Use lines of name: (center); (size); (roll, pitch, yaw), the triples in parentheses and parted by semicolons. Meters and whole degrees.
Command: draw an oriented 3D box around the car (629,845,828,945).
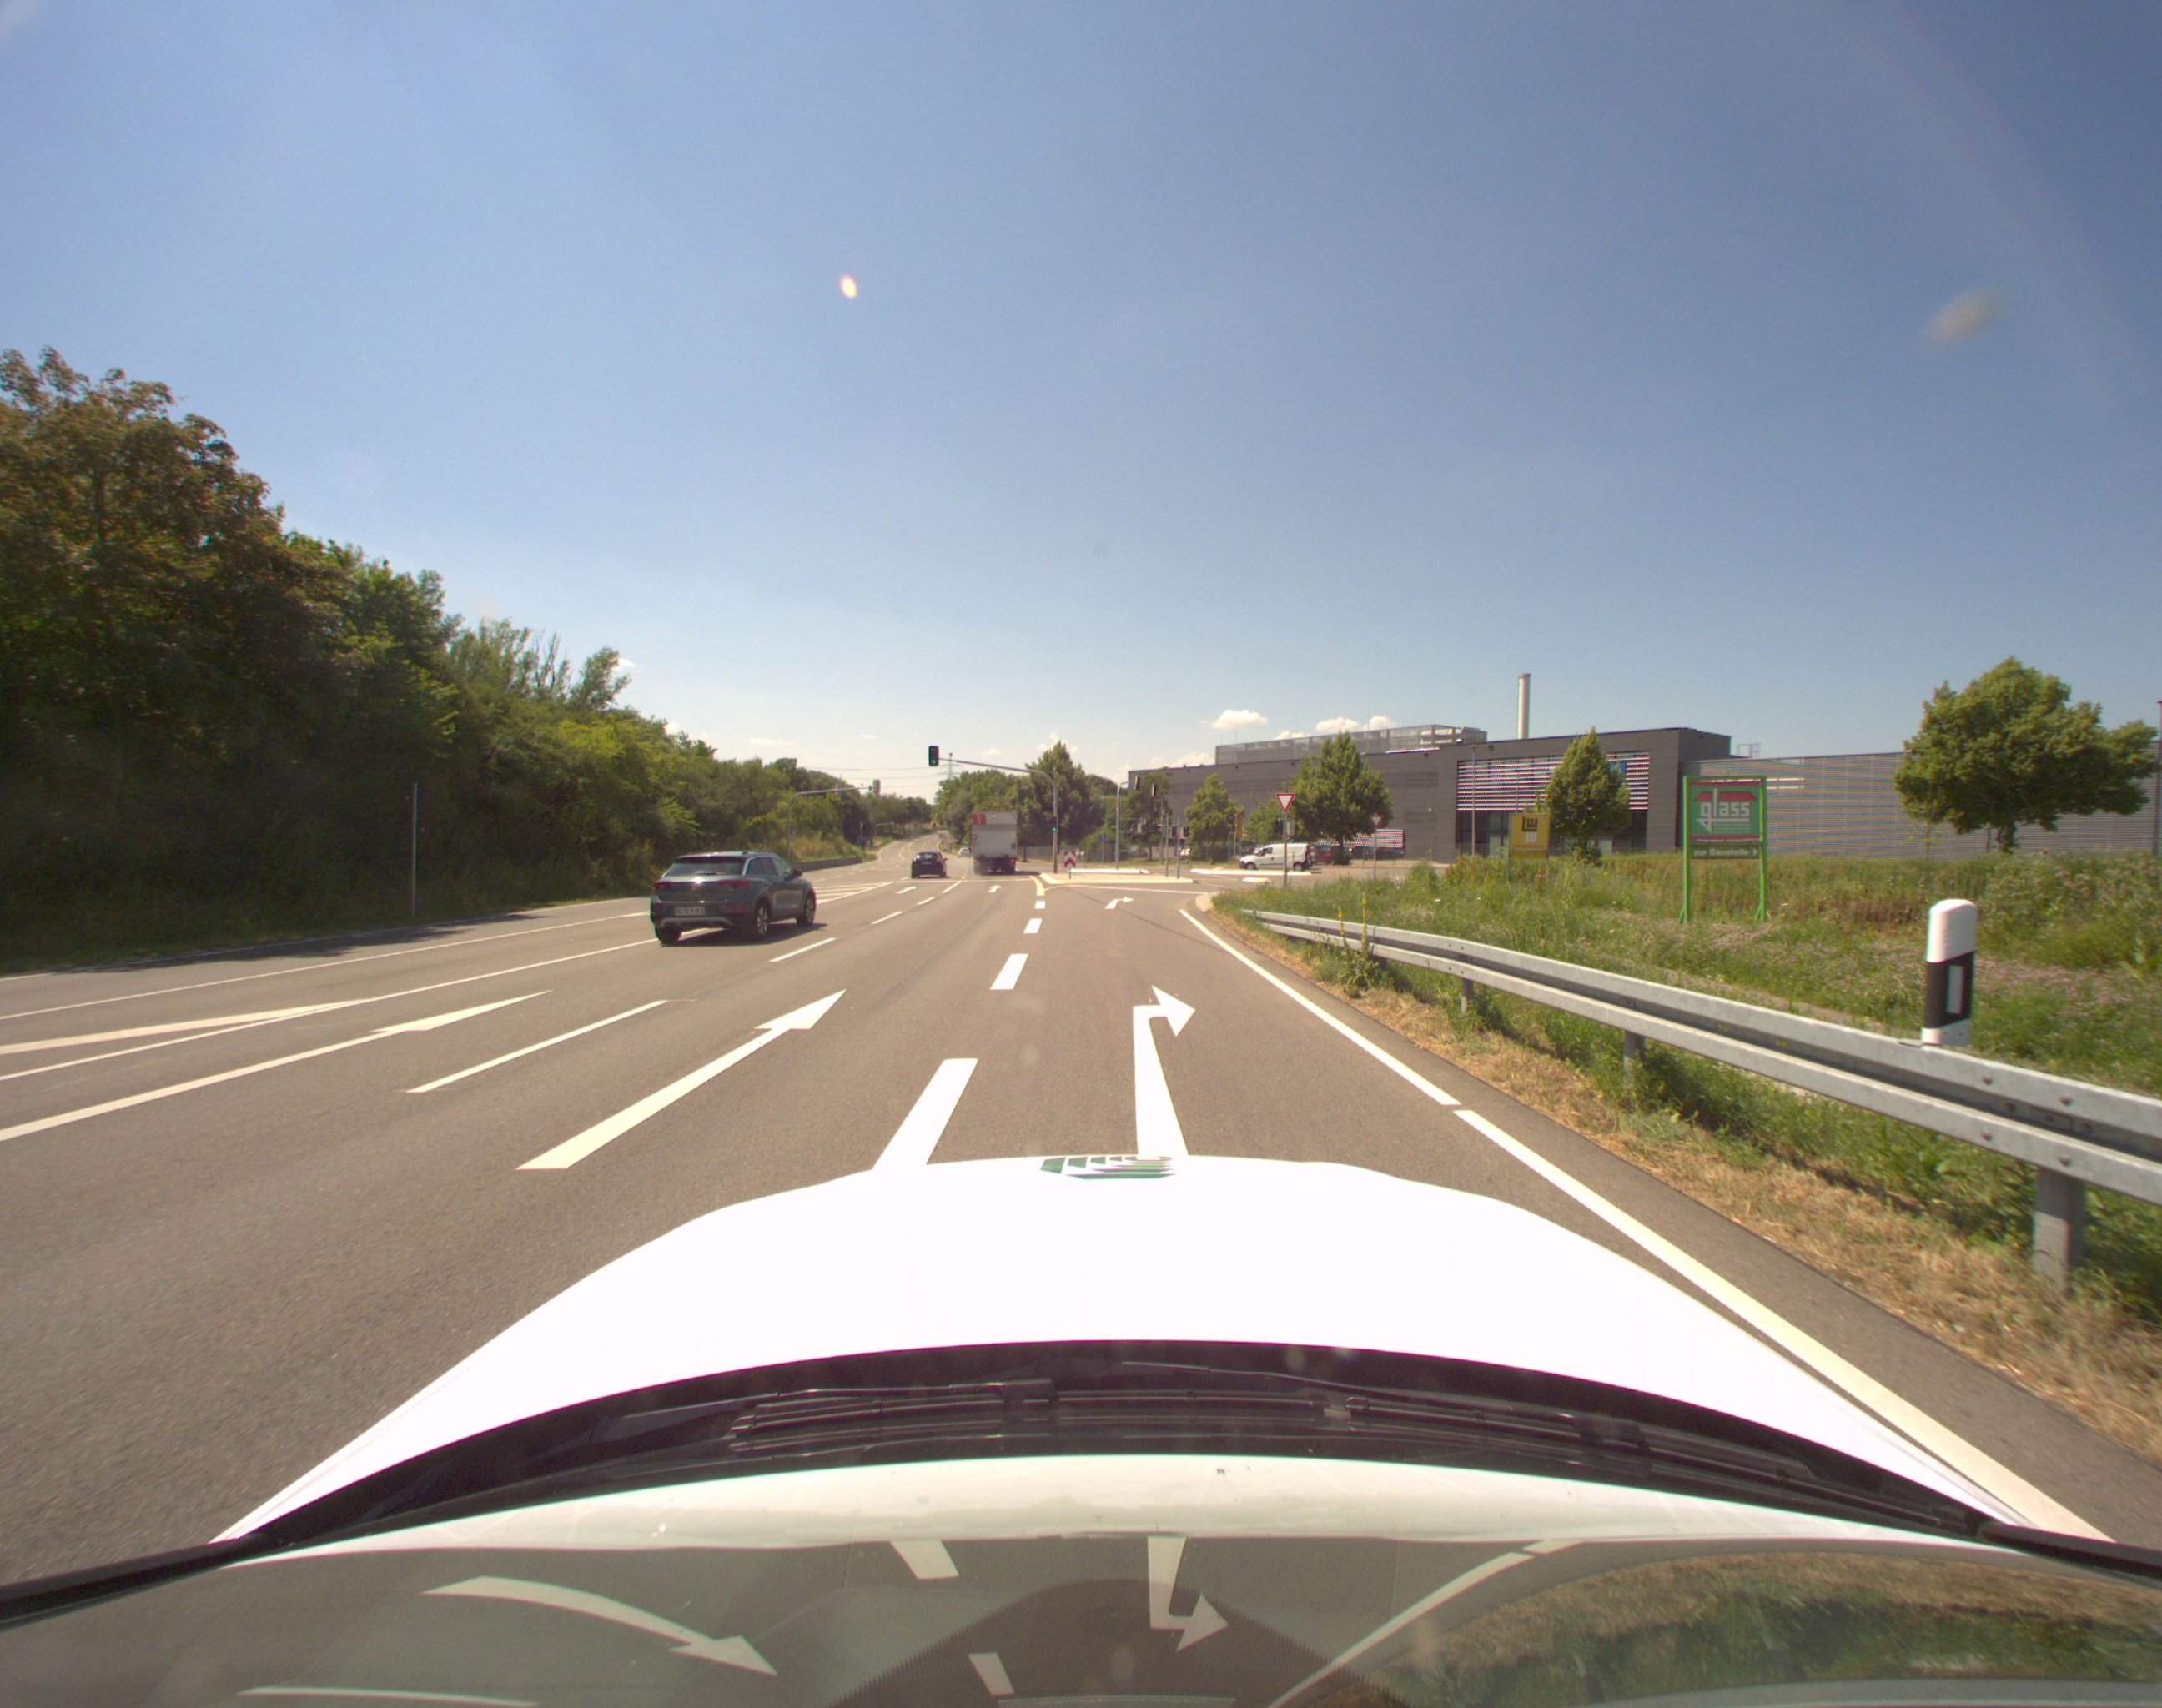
car: (-6.383, 0.652, 15.370); (1.829, 1.586, 4.390); (-1, 0, 0)

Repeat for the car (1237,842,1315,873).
car: (12.874, 0.230, 53.707); (4.703, 1.932, 2.165); (0, 0, 22)

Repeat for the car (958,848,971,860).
car: (-17.876, -0.068, 124.901); (1.943, 1.664, 3.988); (3, 1, -9)

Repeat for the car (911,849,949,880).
car: (-8.238, 0.532, 44.641); (1.650, 1.493, 4.200); (0, 2, -5)

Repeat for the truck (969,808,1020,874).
truck: (-5.186, -0.795, 50.368); (2.798, 3.710, 9.095); (0, 1, -4)

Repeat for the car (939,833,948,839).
car: (-42.445, -5.566, 251.006); (1.987, 1.684, 4.001); (0, 0, 1)
